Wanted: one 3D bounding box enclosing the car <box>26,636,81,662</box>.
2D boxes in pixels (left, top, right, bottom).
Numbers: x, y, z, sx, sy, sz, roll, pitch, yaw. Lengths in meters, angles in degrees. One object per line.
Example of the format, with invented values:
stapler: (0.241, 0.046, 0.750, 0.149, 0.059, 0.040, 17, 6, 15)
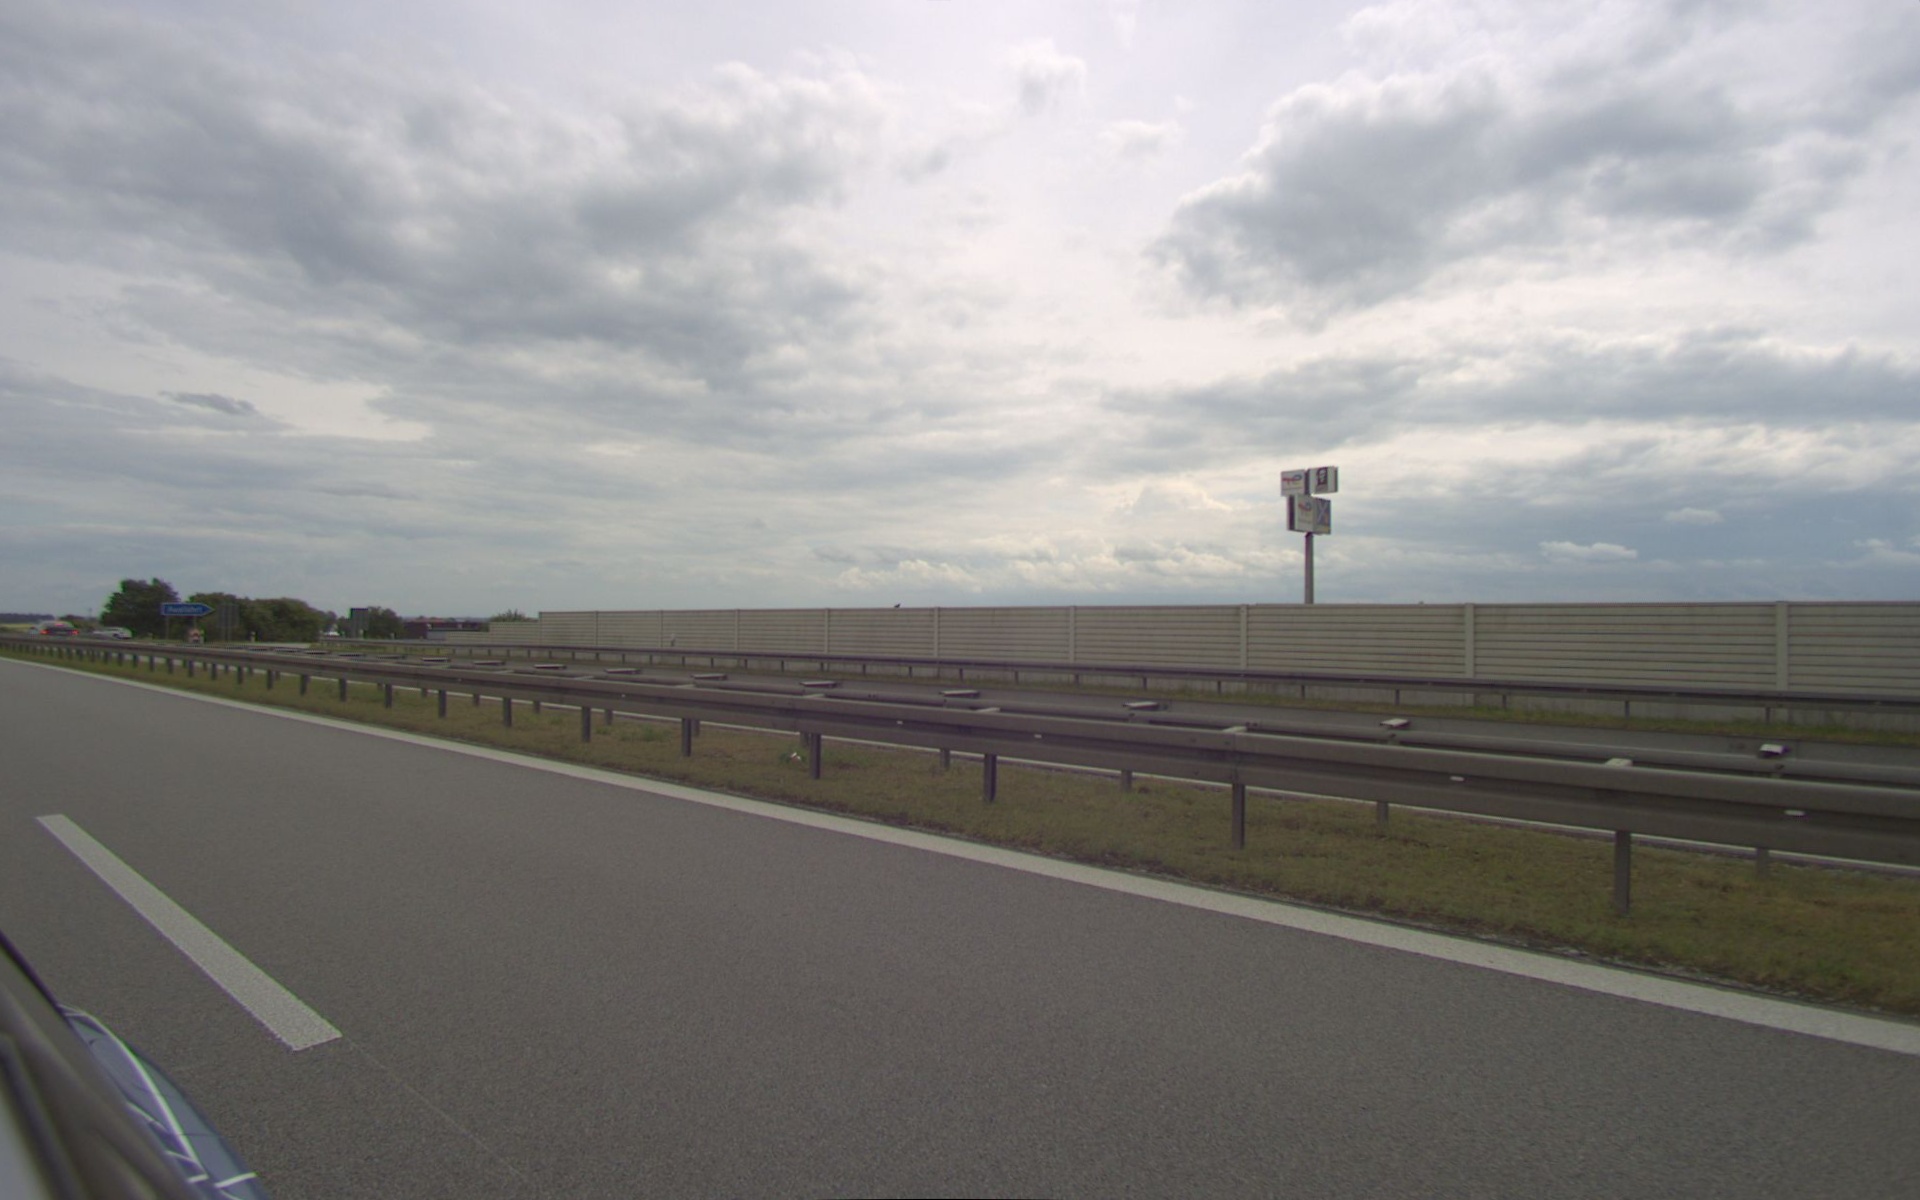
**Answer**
car: (-53.521, 2.866, 59.710, 5.170, 1.462, 1.769, -2, -1, 41)
